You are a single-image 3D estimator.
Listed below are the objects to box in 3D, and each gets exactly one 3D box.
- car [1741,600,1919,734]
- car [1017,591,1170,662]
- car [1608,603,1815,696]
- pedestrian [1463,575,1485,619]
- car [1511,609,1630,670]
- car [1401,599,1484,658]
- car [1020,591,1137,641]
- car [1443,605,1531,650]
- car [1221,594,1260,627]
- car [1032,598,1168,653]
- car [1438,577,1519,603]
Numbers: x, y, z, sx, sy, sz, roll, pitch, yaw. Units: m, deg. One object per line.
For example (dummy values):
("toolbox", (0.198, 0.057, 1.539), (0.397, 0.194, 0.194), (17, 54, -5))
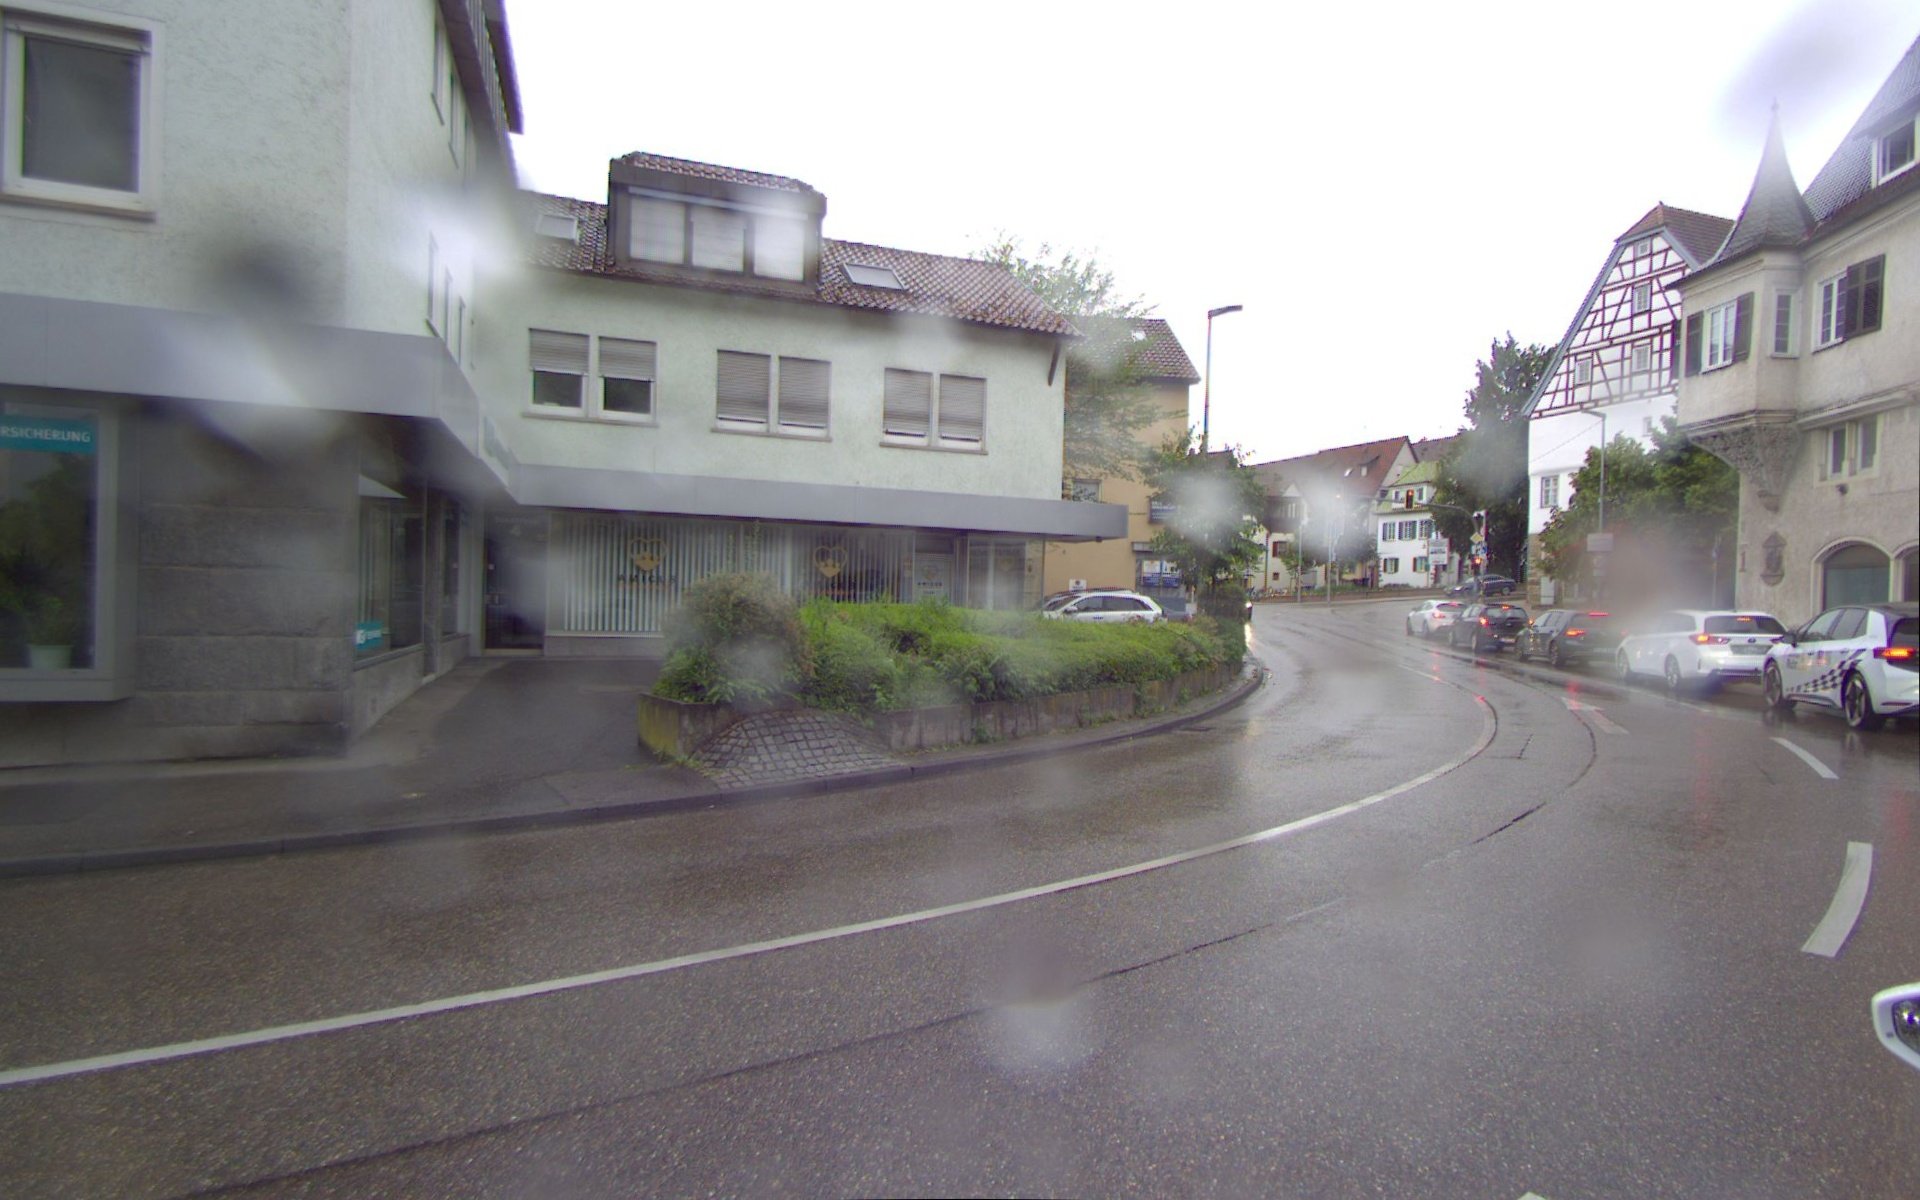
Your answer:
("car", (12.147, 0.781, 13.296), (1.760, 1.537, 4.239), (-1, -1, 22))
("car", (3.302, 0.640, 25.187), (3.472, 1.708, 1.710), (0, 1, -8))
("car", (13.960, 0.844, 18.974), (1.755, 1.485, 4.165), (-1, 1, 16))
("pedestrian", (27.462, -0.159, 53.697), (0.851, 2.357, 1.231), (1, 0, 18))
("car", (15.671, 0.965, 25.974), (1.493, 1.380, 3.769), (-1, 1, 13))
("car", (18.676, 1.060, 39.059), (1.939, 2.118, 3.963), (-1, 1, 11))
("car", (3.816, 0.506, 32.689), (3.472, 1.597, 1.710), (0, 1, -8))
("car", (16.949, 0.857, 32.473), (1.634, 1.330, 3.625), (-1, 1, 13))
("car", (13.677, 0.529, 49.089), (1.702, 1.530, 4.275), (-1, -1, 14))
("car", (3.887, 0.691, 28.238), (3.472, 1.475, 1.710), (0, 1, -8))
("car", (33.525, -0.656, 64.973), (4.446, 1.409, 1.648), (1, 7, -8))
